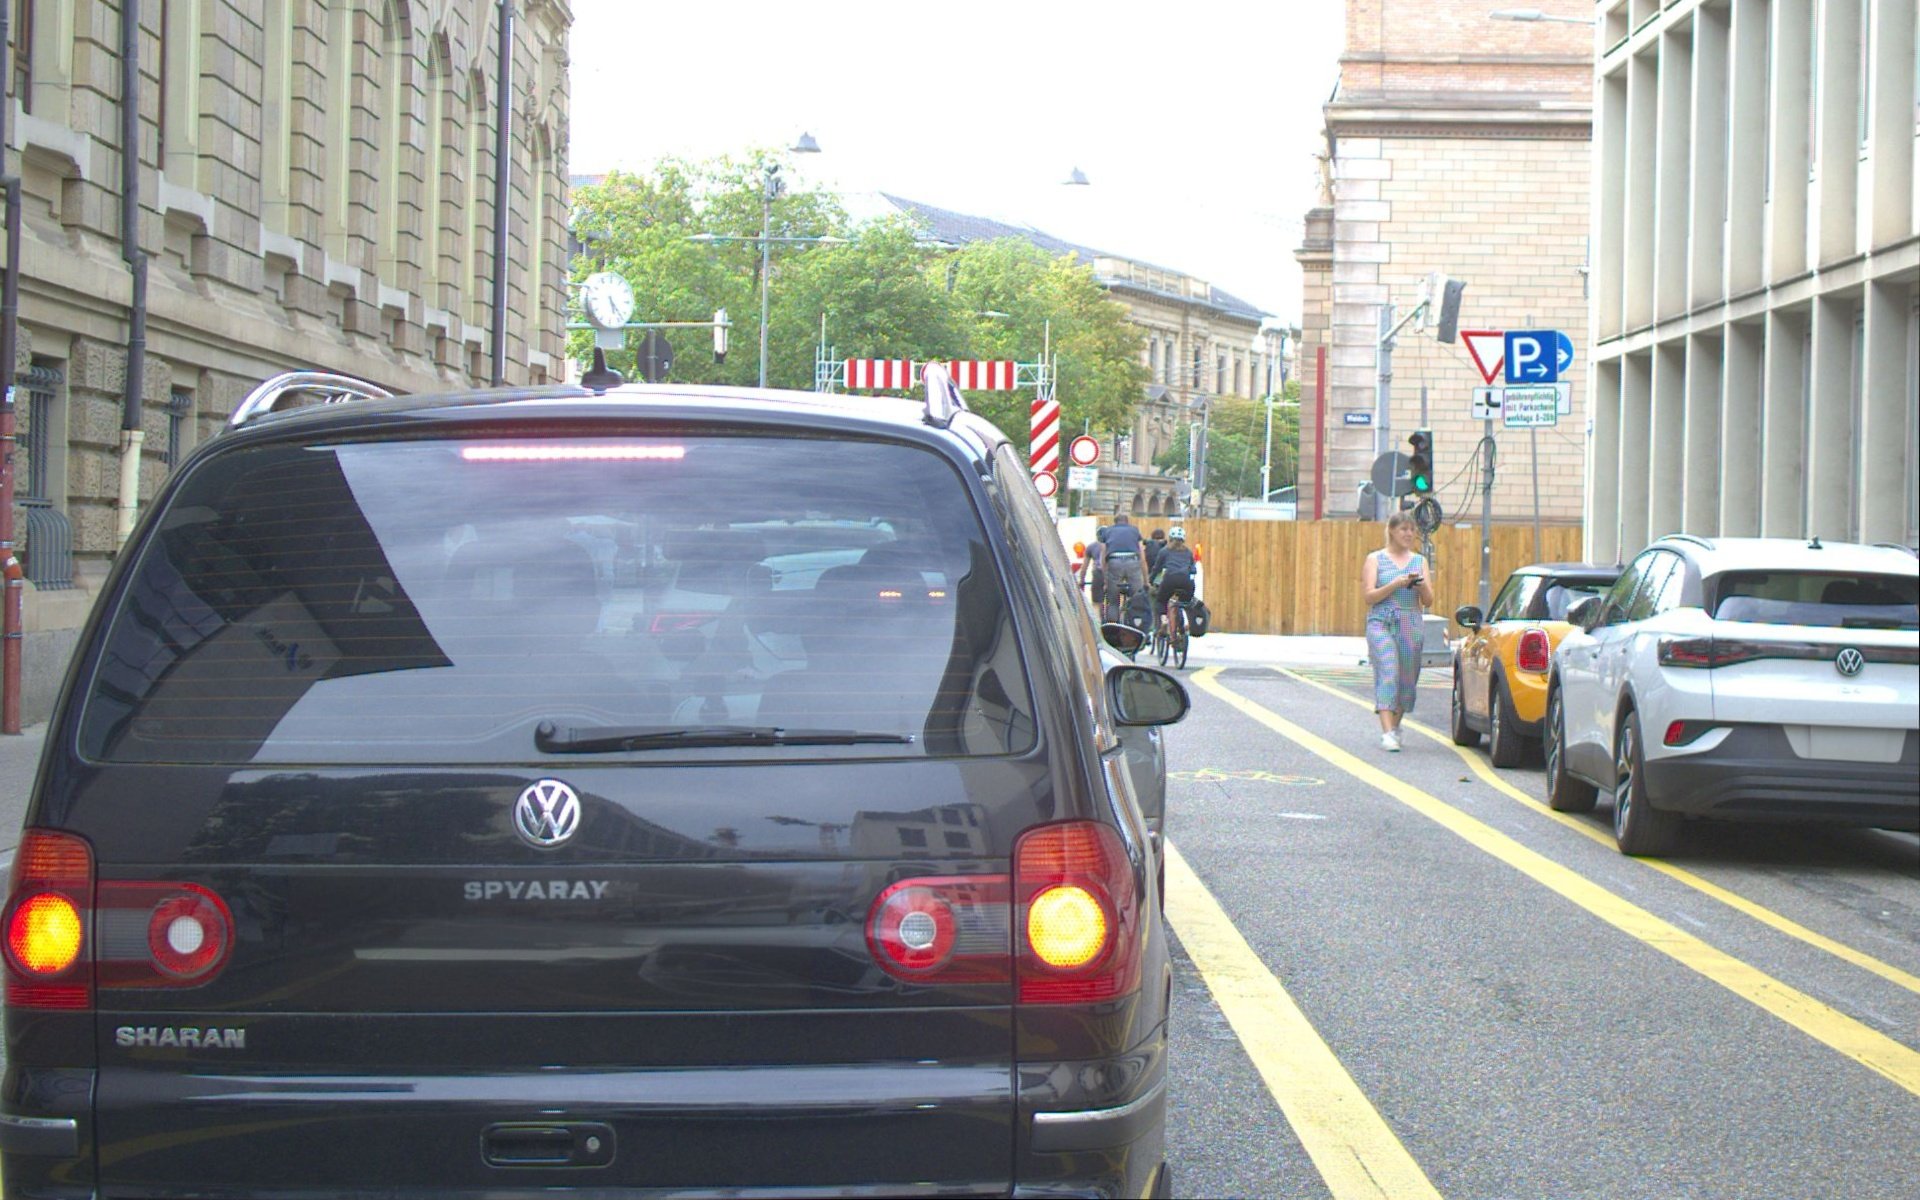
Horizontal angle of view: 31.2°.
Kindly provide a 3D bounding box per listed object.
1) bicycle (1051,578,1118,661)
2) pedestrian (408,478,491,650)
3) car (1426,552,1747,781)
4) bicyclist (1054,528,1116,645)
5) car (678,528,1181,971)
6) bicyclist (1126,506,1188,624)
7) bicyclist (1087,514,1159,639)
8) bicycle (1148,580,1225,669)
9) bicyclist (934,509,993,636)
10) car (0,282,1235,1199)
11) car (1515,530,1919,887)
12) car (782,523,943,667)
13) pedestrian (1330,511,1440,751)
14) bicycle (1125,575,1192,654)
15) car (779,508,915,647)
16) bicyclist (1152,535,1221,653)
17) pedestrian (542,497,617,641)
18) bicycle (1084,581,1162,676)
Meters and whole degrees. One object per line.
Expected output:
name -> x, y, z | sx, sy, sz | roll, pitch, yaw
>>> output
bicycle -> 1.569, 0.233, 43.641 | 0.735, 1.005, 2.069 | 1, 1, -1
pedestrian -> -5.535, -0.388, 37.317 | 0.664, 1.813, 1.048 | 3, 0, -1
car -> 4.490, 0.426, 25.147 | 1.680, 1.430, 3.886 | 4, 1, 2
bicyclist -> 1.582, -0.174, 43.662 | 0.735, 1.465, 0.809 | 1, 0, -1
car -> -0.027, 0.485, 13.729 | 1.678, 1.464, 4.103 | 1, 1, 2
bicyclist -> 2.622, -0.463, 45.795 | 0.735, 1.550, 0.895 | 1, 0, -1
bicyclist -> 1.814, -0.263, 38.436 | 0.735, 1.372, 0.829 | 1, 0, -1
bicycle -> 2.661, 0.279, 40.609 | 0.735, 1.005, 2.069 | 1, 1, -1
bicyclist -> 0.041, -0.356, 44.335 | 0.735, 1.606, 0.695 | 1, 0, -1
car -> -0.473, 0.465, 6.604 | 1.790, 1.784, 4.103 | 1, 1, 2
car -> 4.256, 0.505, 18.524 | 1.860, 1.599, 4.512 | 4, 1, 2
car -> -1.109, -0.071, 40.270 | 1.773, 1.580, 4.000 | 1, 1, -1
pedestrian -> 3.157, 0.223, 25.592 | 0.703, 1.757, 0.700 | 1, 0, -1
bicycle -> 2.638, 0.179, 45.803 | 0.735, 1.005, 2.069 | 1, 1, -1
car -> -1.595, -0.321, 47.272 | 1.734, 1.784, 4.104 | 1, 1, -3
bicyclist -> 2.669, -0.077, 40.589 | 0.735, 1.371, 0.832 | 1, 0, -1
pedestrian -> -4.956, -0.407, 44.793 | 0.792, 1.813, 1.048 | 3, 0, -1
bicycle -> 1.805, 0.303, 38.248 | 0.735, 1.005, 2.069 | 1, 1, -1
